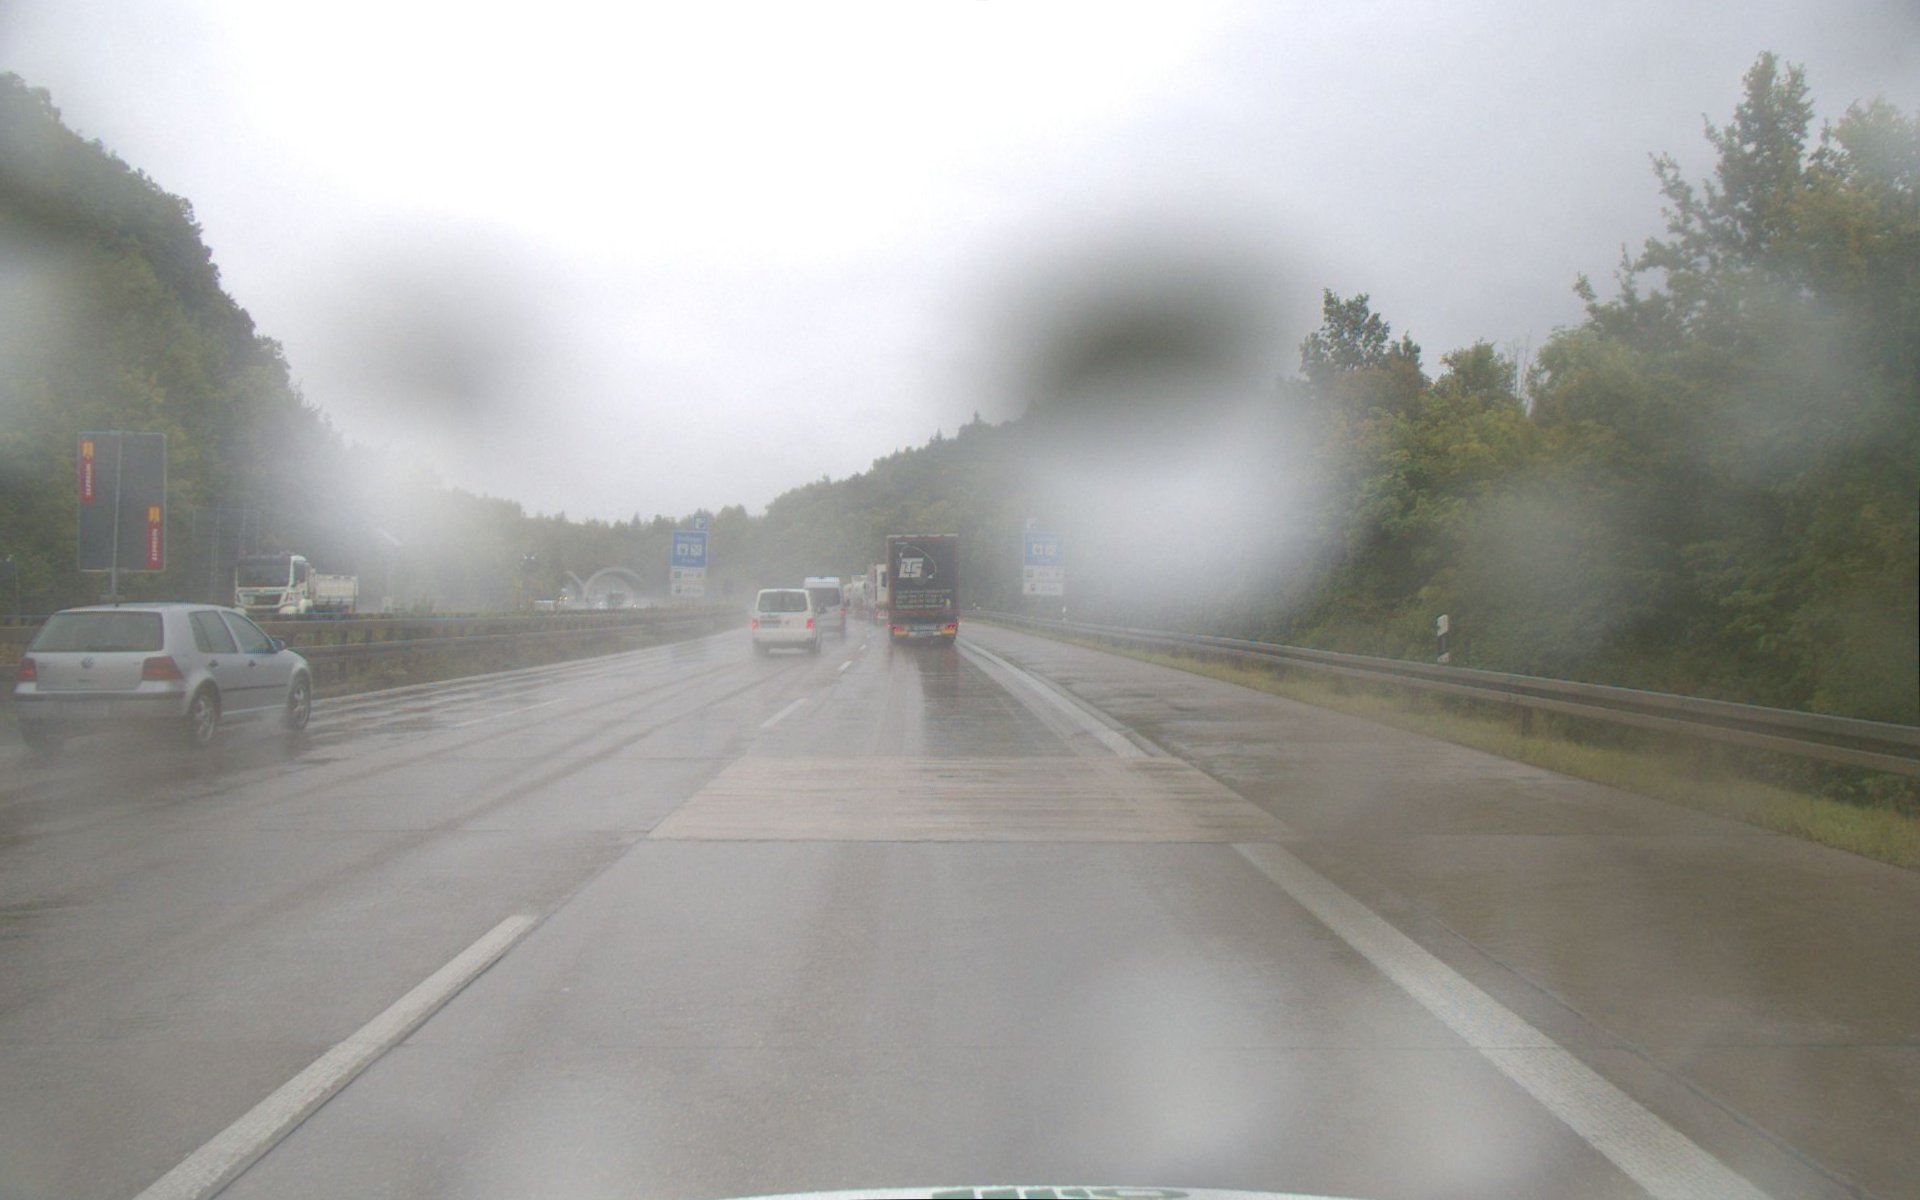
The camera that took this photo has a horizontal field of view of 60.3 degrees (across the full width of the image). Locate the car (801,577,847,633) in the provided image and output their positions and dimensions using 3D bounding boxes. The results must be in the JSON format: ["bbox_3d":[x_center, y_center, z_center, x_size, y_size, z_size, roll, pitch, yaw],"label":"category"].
[{"bbox_3d":[-6.092,0.222,73.647,1.863,2.374,5.244,1,0,-6],"label":"car"}]

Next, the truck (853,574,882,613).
[{"bbox_3d":[-8.030,-0.548,142.600,1.956,3.225,6.721,1,0,-8],"label":"truck"}]

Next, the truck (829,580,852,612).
[{"bbox_3d":[-12.455,-0.365,171.917,1.956,3.225,6.721,1,0,-8],"label":"truck"}]

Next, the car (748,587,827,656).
[{"bbox_3d":[-5.107,0.613,49.602,1.861,1.927,5.042,1,0,-1],"label":"car"}]

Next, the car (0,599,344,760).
[{"bbox_3d":[-8.117,0.746,17.453,1.633,1.459,4.349,1,0,-1],"label":"car"}]

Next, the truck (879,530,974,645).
[{"bbox_3d":[-1.302,-0.584,63.506,3.316,4.037,8.665,-1,2,-1],"label":"truck"}]

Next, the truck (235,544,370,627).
[{"bbox_3d":[-26.023,-0.530,65.834,2.250,3.071,7.921,1,0,-1],"label":"truck"}]

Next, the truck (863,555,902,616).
[{"bbox_3d":[-5.145,-0.900,109.115,1.956,3.872,6.721,1,0,-8],"label":"truck"}]
